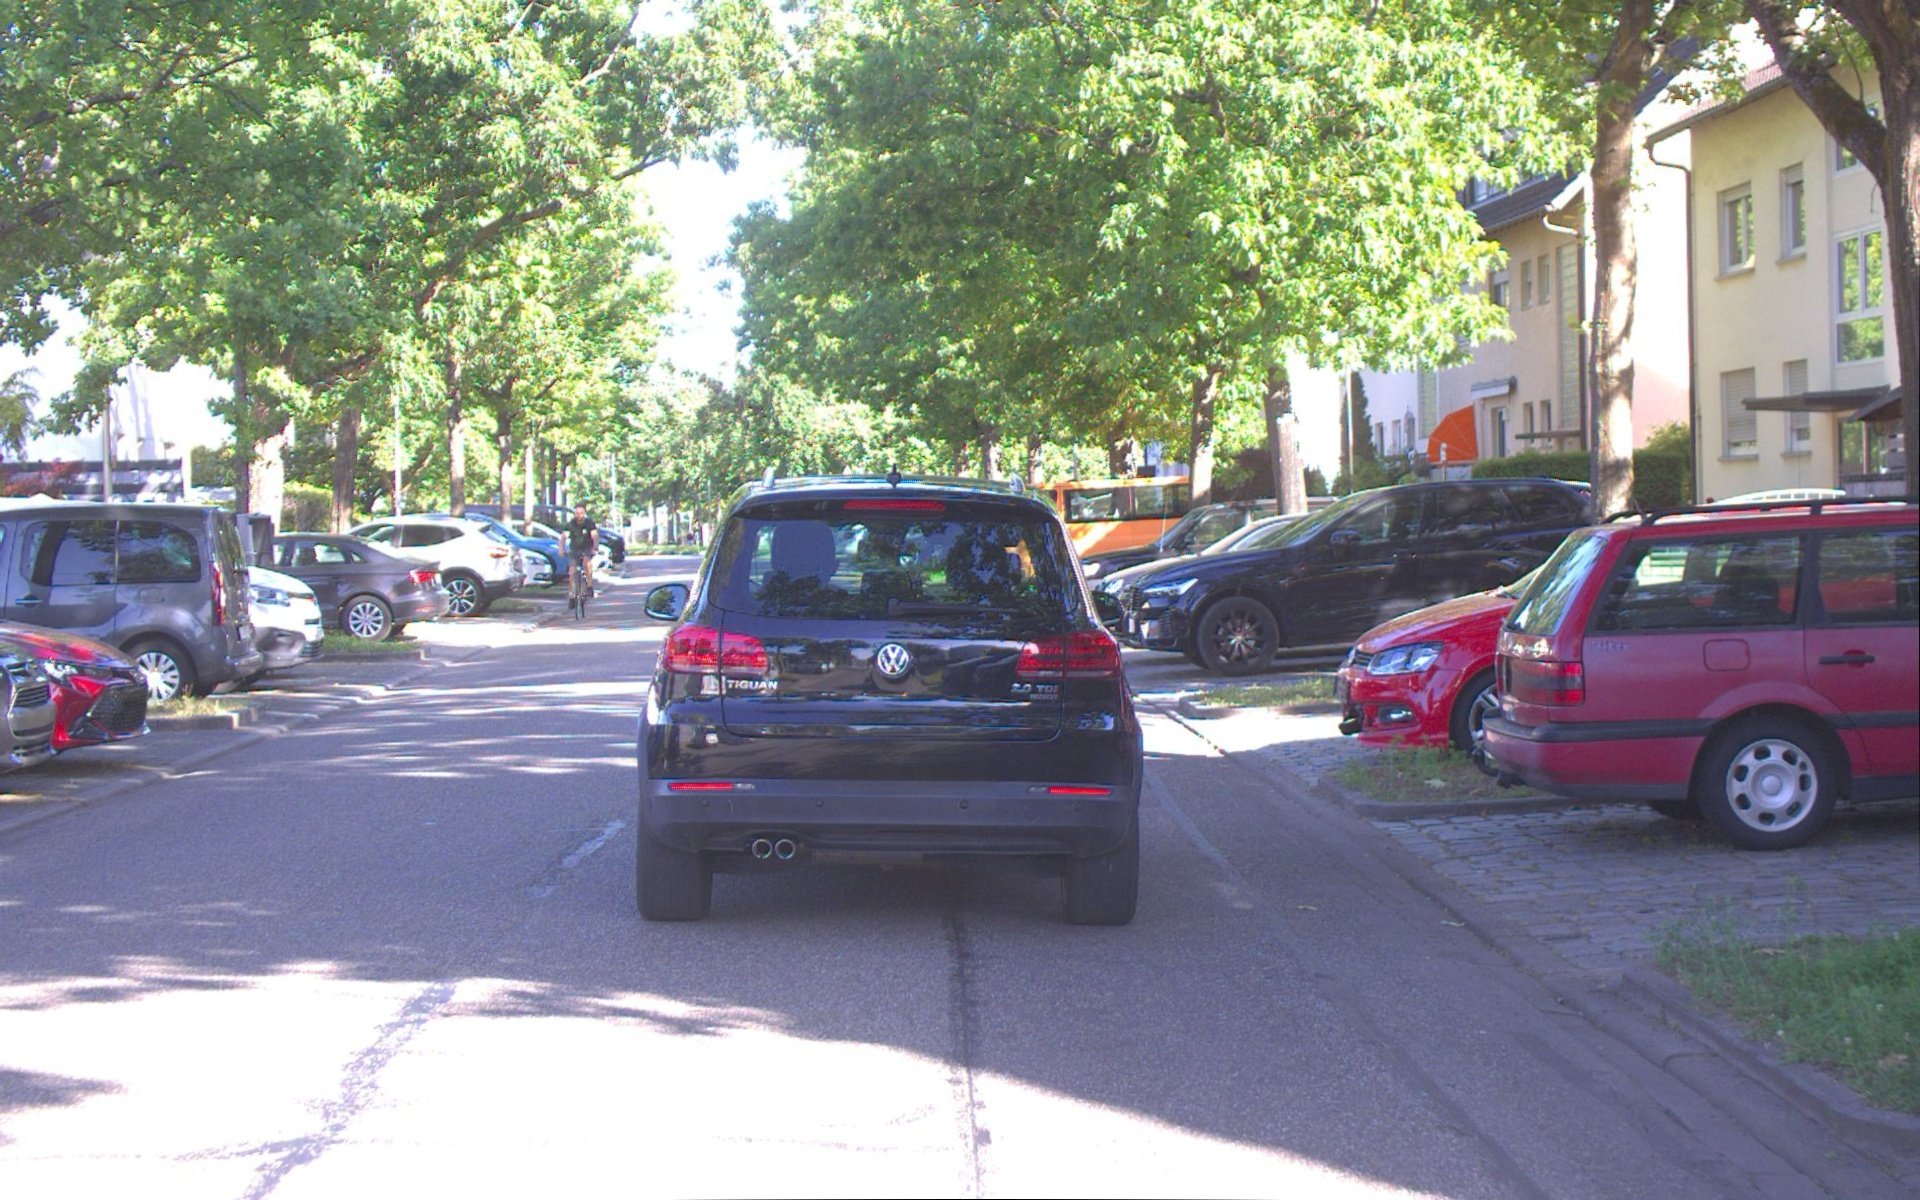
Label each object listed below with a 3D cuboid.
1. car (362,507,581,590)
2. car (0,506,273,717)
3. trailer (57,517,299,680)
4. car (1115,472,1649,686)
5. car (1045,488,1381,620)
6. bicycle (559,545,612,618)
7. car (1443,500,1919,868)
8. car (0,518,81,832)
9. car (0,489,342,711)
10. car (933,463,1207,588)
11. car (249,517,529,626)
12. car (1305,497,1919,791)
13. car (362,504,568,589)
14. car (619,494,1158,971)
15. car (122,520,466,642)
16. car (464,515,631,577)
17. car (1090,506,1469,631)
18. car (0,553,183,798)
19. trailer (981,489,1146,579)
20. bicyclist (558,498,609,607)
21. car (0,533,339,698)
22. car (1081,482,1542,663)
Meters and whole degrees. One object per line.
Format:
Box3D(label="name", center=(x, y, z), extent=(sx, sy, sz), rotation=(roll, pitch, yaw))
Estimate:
Box3D(label="car", center=(-10.625, -1.133, 75.078), extent=(4.523, 1.625, 1.938), rotation=(-2, 2, -3))
Box3D(label="car", center=(-8.248, 0.069, 29.953), extent=(4.237, 1.764, 1.968), rotation=(0, 2, -5))
Box3D(label="trailer", center=(-8.547, -0.034, 37.698), extent=(2.236, 1.668, 1.474), rotation=(-2, 2, 2))
Box3D(label="car", center=(3.838, -0.222, 31.767), extent=(4.573, 1.641, 1.838), rotation=(-4, 2, -2))
Box3D(label="car", center=(3.460, -0.658, 47.503), extent=(4.337, 1.555, 1.868), rotation=(-3, 2, -3))
Box3D(label="bicycle", center=(-5.924, -0.301, 54.441), extent=(0.596, 1.055, 1.986), rotation=(-4, 2, -1))
Box3D(label="car", center=(4.604, 0.262, 15.496), extent=(4.502, 1.441, 1.838), rotation=(-3, 1, -1))
Box3D(label="car", center=(-7.759, 0.419, 20.334), extent=(4.673, 1.762, 1.795), rotation=(0, 2, -2))
Box3D(label="car", center=(-8.149, 0.005, 32.700), extent=(4.235, 1.937, 2.000), rotation=(-2, 1, -5))
Box3D(label="car", center=(1.991, -1.382, 63.282), extent=(4.818, 2.076, 2.086), rotation=(-2, 2, -3))
Box3D(label="car", center=(-9.183, -0.475, 55.510), extent=(4.187, 1.561, 1.792), rotation=(-2, 2, -1))
Box3D(label="car", center=(4.063, 0.225, 20.305), extent=(3.777, 1.479, 1.756), rotation=(-3, 1, -1))
Box3D(label="car", center=(-10.155, -1.098, 70.690), extent=(3.986, 1.590, 1.858), rotation=(-2, 1, -3))
Box3D(label="car", center=(-0.289, 0.398, 13.727), extent=(1.838, 1.631, 3.958), rotation=(0, 2, -1))
Box3D(label="car", center=(-8.691, -0.270, 45.134), extent=(4.210, 1.466, 1.691), rotation=(-1, 2, -3))
Box3D(label="car", center=(-10.985, -1.443, 91.793), extent=(4.275, 1.473, 1.769), rotation=(-2, 2, -4))
Box3D(label="car", center=(3.873, -0.403, 42.136), extent=(4.427, 1.327, 1.691), rotation=(-2, 2, -1))
Box3D(label="car", center=(-7.555, 0.534, 22.656), extent=(4.476, 1.494, 1.837), rotation=(-2, 2, -4))
Box3D(label="trailer", center=(2.032, -1.308, 67.785), extent=(2.945, 1.658, 1.615), rotation=(-2, 2, -9))
Box3D(label="bicyclist", center=(-5.954, -0.759, 54.398), extent=(0.596, 1.668, 0.975), rotation=(-4, 2, -1))
Box3D(label="car", center=(-8.474, 0.154, 35.030), extent=(3.986, 1.511, 1.691), rotation=(-2, 2, -3))
Box3D(label="car", center=(3.496, -0.303, 34.711), extent=(4.319, 1.524, 1.841), rotation=(-4, 2, -3))
